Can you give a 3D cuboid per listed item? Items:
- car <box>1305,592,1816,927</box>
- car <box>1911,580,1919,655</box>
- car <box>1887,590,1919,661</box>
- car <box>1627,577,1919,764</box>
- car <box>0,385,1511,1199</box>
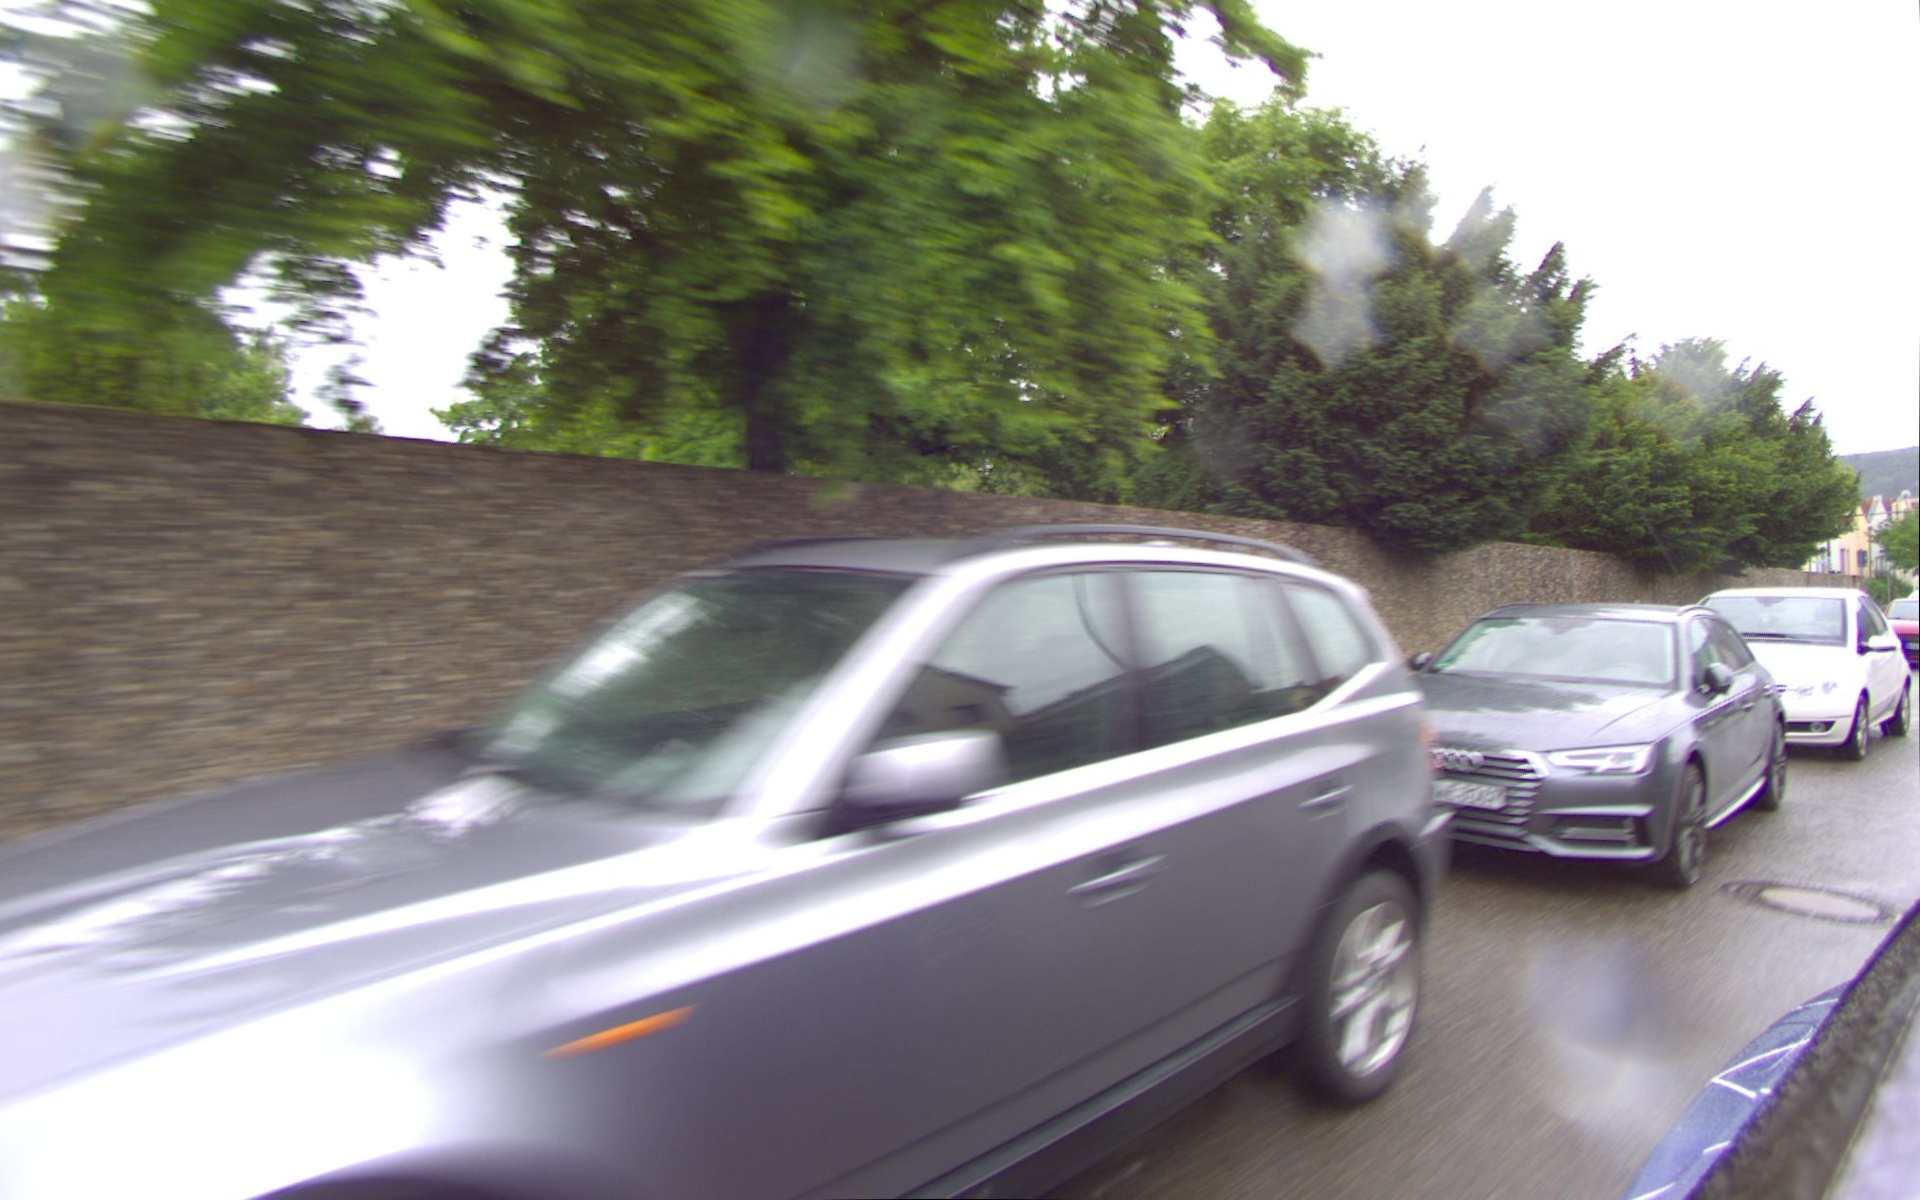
[{"bbox_3d":[4.284,0.707,6.820,4.618,1.465,1.766,-1,1,-43],"label":"car"},{"bbox_3d":[24.975,0.362,25.059,4.064,1.763,1.640,-2,0,-41],"label":"car"},{"bbox_3d":[21.477,0.551,22.092,3.603,1.473,1.585,0,1,-44],"label":"car"},{"bbox_3d":[8.704,0.571,10.613,3.811,1.593,1.818,-1,1,-40],"label":"car"},{"bbox_3d":[-0.220,0.611,2.776,4.422,1.689,1.744,-1,1,-43],"label":"car"}]
